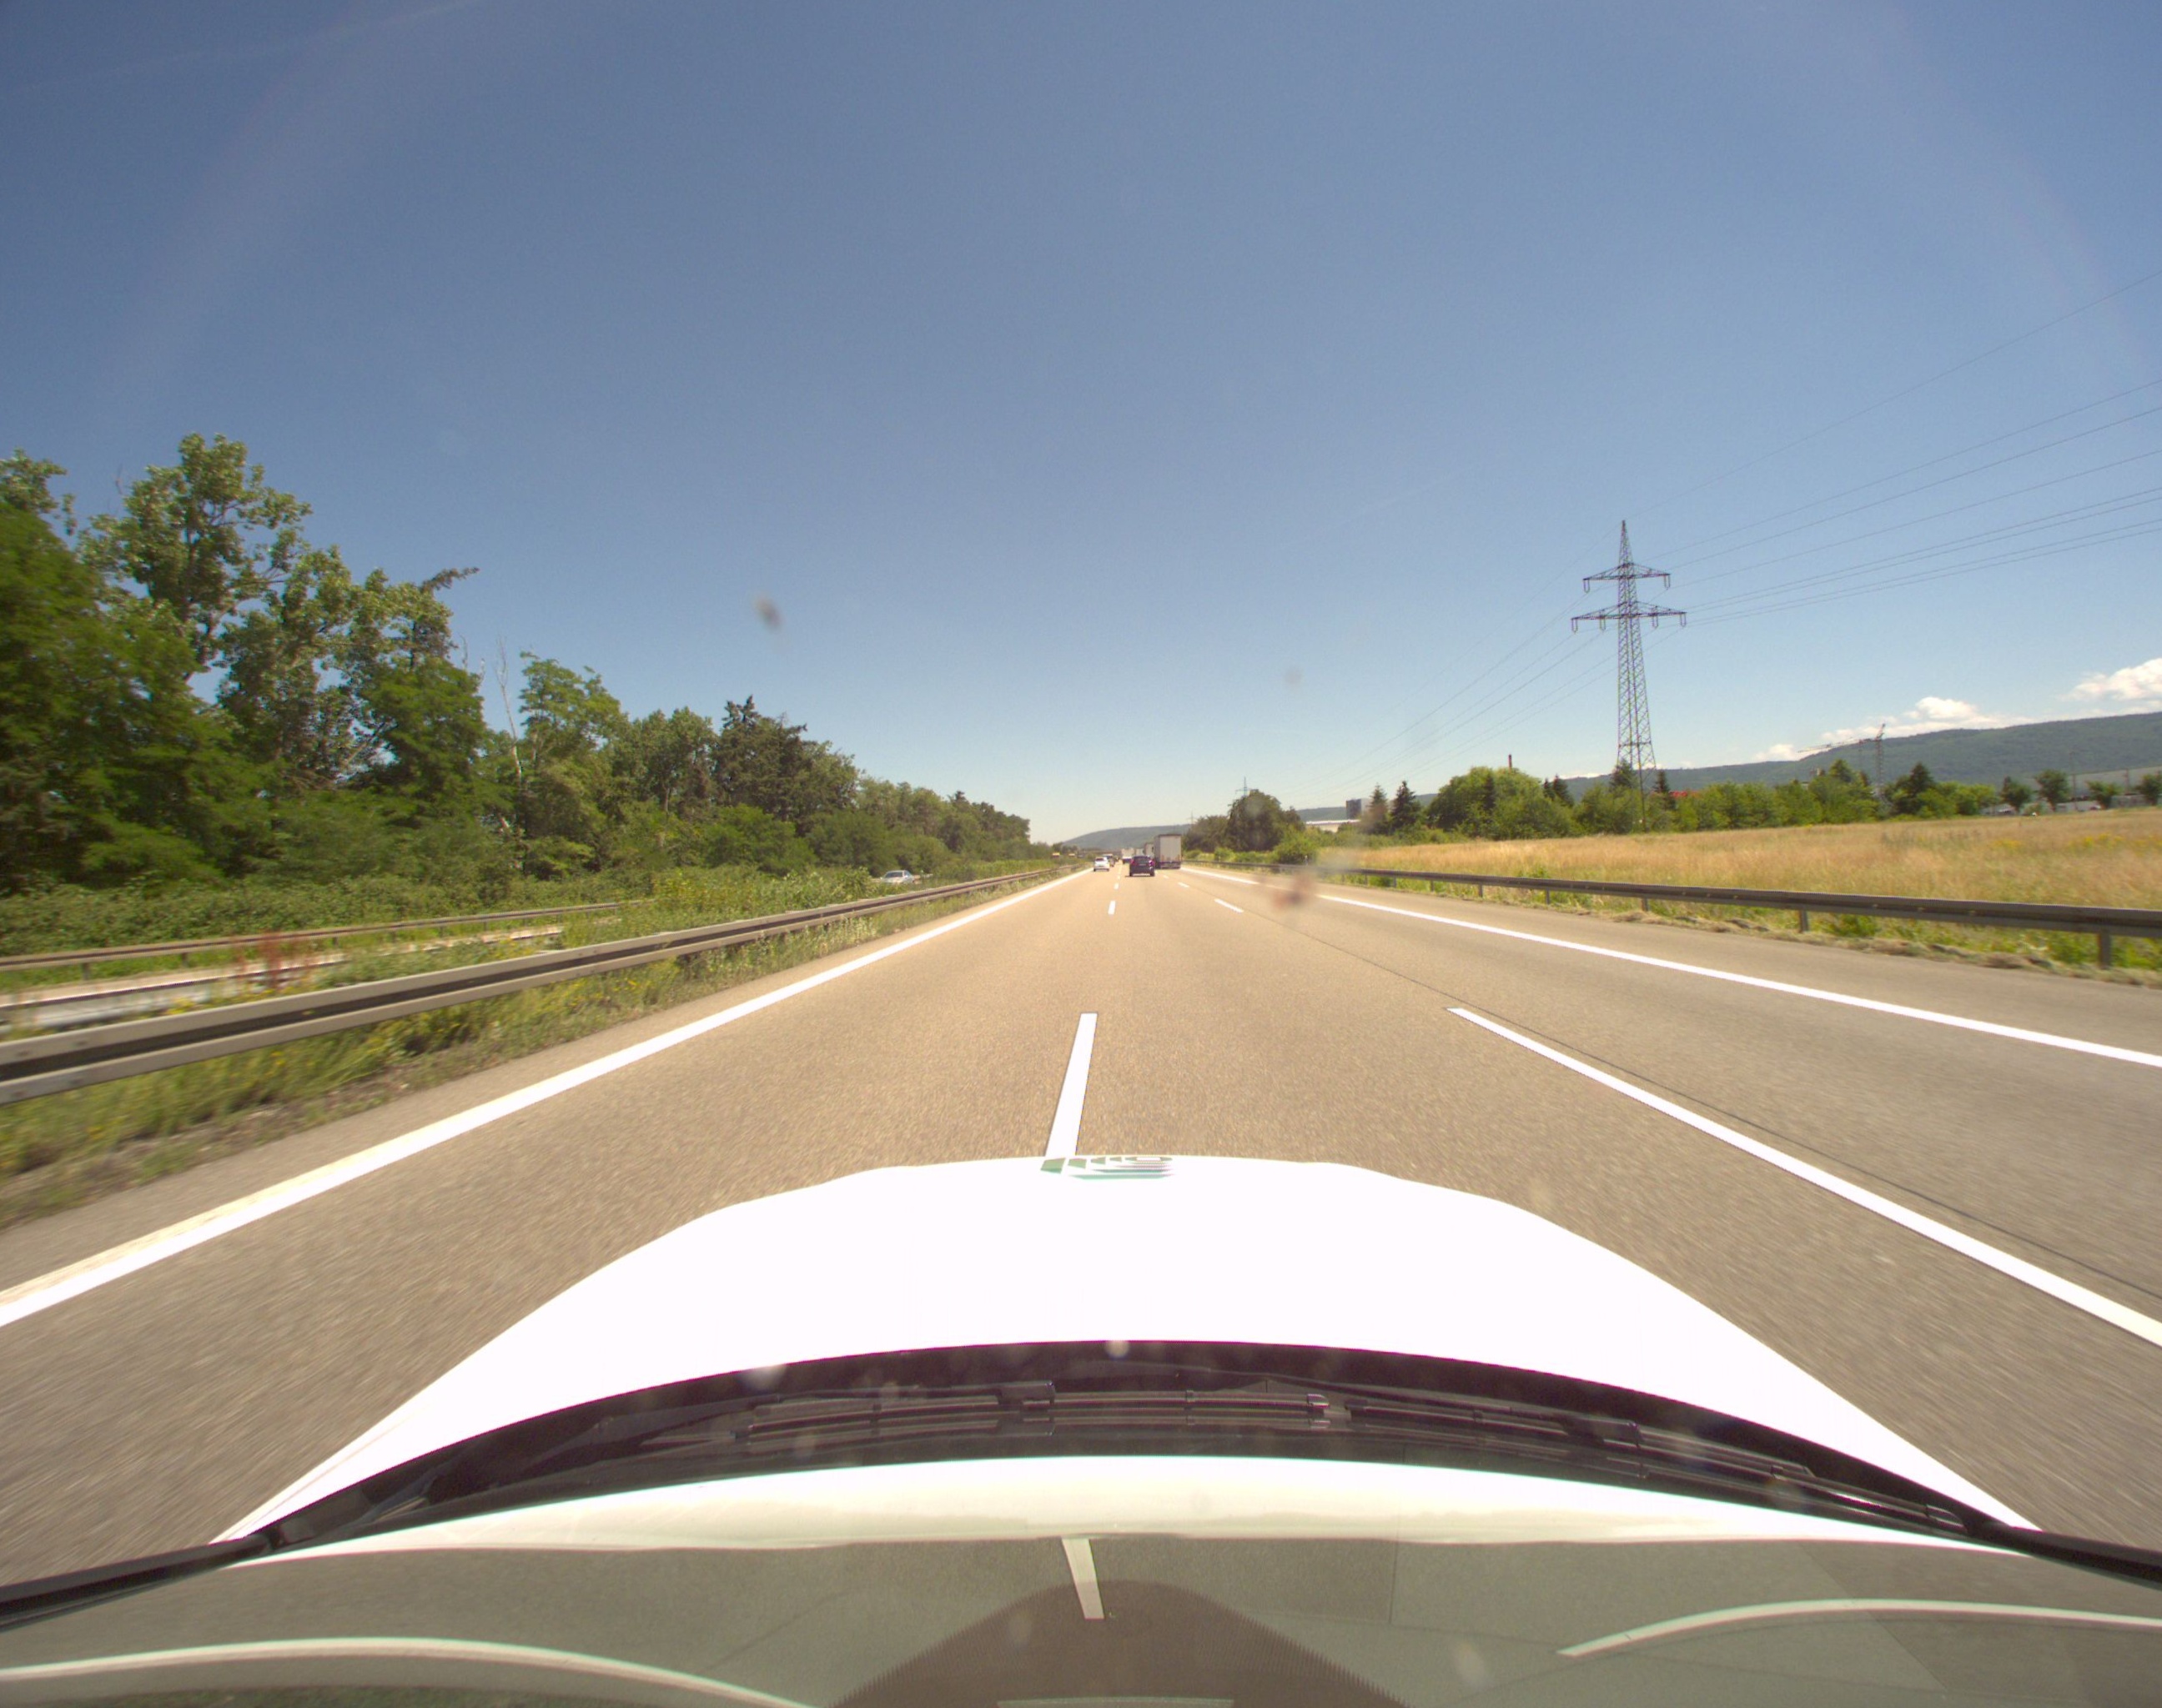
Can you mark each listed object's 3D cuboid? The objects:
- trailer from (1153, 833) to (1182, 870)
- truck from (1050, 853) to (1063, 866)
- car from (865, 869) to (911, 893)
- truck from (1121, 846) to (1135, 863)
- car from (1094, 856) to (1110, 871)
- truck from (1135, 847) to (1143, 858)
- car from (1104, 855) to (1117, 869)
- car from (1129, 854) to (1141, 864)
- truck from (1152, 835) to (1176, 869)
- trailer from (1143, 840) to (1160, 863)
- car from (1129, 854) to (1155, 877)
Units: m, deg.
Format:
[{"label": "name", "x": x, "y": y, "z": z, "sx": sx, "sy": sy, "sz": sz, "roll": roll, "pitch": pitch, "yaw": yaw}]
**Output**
[{"label": "trailer", "x": 10.334, "y": -0.257, "z": 98.177, "sx": 2.725, "sy": 4.106, "sz": 13.132, "roll": -1, "pitch": 0, "yaw": 3}, {"label": "truck", "x": -7.281, "y": 1.553, "z": 241.319, "sx": 2.528, "sy": 3.634, "sz": 11.853, "roll": -4, "pitch": -1, "yaw": 3}, {"label": "car", "x": -12.728, "y": 1.761, "z": 54.049, "sx": 1.846, "sy": 1.379, "sz": 4.312, "roll": -3, "pitch": 0, "yaw": 2}, {"label": "truck", "x": 9.663, "y": 0.055, "z": 167.487, "sx": 2.771, "sy": 3.373, "sz": 8.133, "roll": -1, "pitch": -1, "yaw": 3}, {"label": "car", "x": 2.298, "y": 0.987, "z": 88.545, "sx": 1.601, "sy": 1.467, "sz": 4.002, "roll": -3, "pitch": 0, "yaw": 2}, {"label": "truck", "x": 17.786, "y": -0.551, "z": 250.294, "sx": 2.212, "sy": 3.209, "sz": 10.392, "roll": -3, "pitch": 0, "yaw": 3}, {"label": "car", "x": 4.463, "y": 1.193, "z": 121.829, "sx": 1.754, "sy": 1.850, "sz": 4.002, "roll": -3, "pitch": 0, "yaw": 2}, {"label": "car", "x": 8.767, "y": 0.835, "z": 131.763, "sx": 1.796, "sy": 1.545, "sz": 4.003, "roll": -1, "pitch": -1, "yaw": 3}, {"label": "truck", "x": 10.729, "y": -0.223, "z": 105.394, "sx": 2.725, "sy": 4.120, "sz": 6.129, "roll": -1, "pitch": -1, "yaw": 3}, {"label": "trailer", "x": 13.829, "y": -0.353, "z": 160.499, "sx": 2.777, "sy": 4.164, "sz": 13.586, "roll": -3, "pitch": -1, "yaw": 4}, {"label": "car", "x": 4.625, "y": 0.877, "z": 62.500, "sx": 1.866, "sy": 1.623, "sz": 4.006, "roll": -1, "pitch": 0, "yaw": 3}]
